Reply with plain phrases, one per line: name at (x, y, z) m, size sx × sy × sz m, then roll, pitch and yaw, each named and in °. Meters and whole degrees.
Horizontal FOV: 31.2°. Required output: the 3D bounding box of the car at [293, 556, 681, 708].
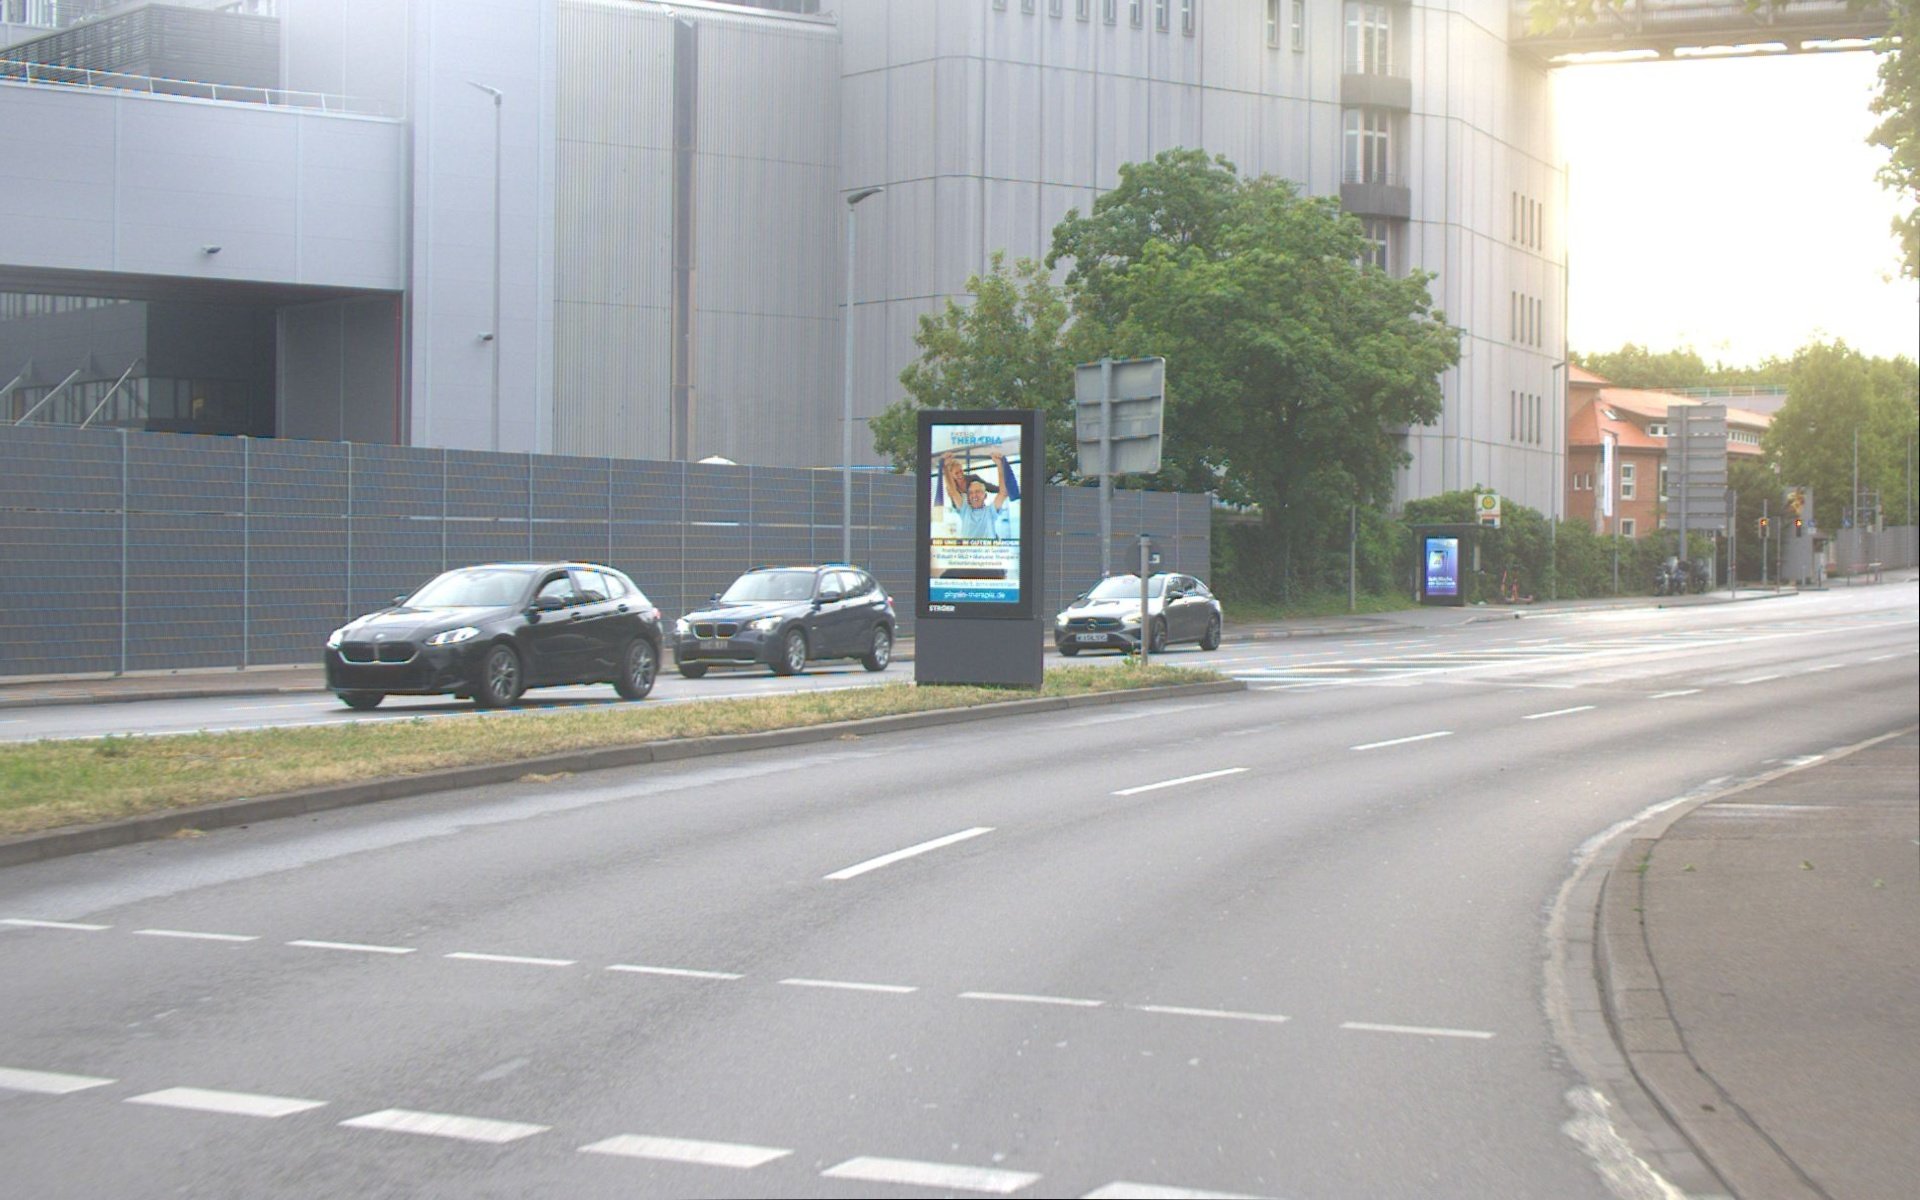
car at (-4.743, 0.278, 35.127) m, size 1.785 × 1.435 × 4.389 m, roll 1°, pitch 1°, yaw 26°

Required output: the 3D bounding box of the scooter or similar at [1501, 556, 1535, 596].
scooter or similar at (17.543, -0.749, 108.046) m, size 0.525 × 1.248 × 1.796 m, roll 1°, pitch 1°, yaw 28°

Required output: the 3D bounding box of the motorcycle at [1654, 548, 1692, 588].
motorcycle at (28.028, -1.257, 135.097) m, size 0.960 × 1.550 × 3.296 m, roll 1°, pitch 1°, yaw 20°

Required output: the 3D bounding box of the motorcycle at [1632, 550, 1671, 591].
motorcycle at (26.361, -1.122, 131.036) m, size 0.914 × 1.527 × 3.296 m, roll 1°, pitch 1°, yaw 20°

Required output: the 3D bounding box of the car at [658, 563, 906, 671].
car at (-2.455, 0.218, 48.762) m, size 1.785 × 1.449 × 4.556 m, roll -1°, pitch 0°, yaw 21°

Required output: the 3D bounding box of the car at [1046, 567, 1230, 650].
car at (3.188, 0.123, 60.779) m, size 1.785 × 1.380 × 4.541 m, roll -1°, pitch 0°, yaw 23°
